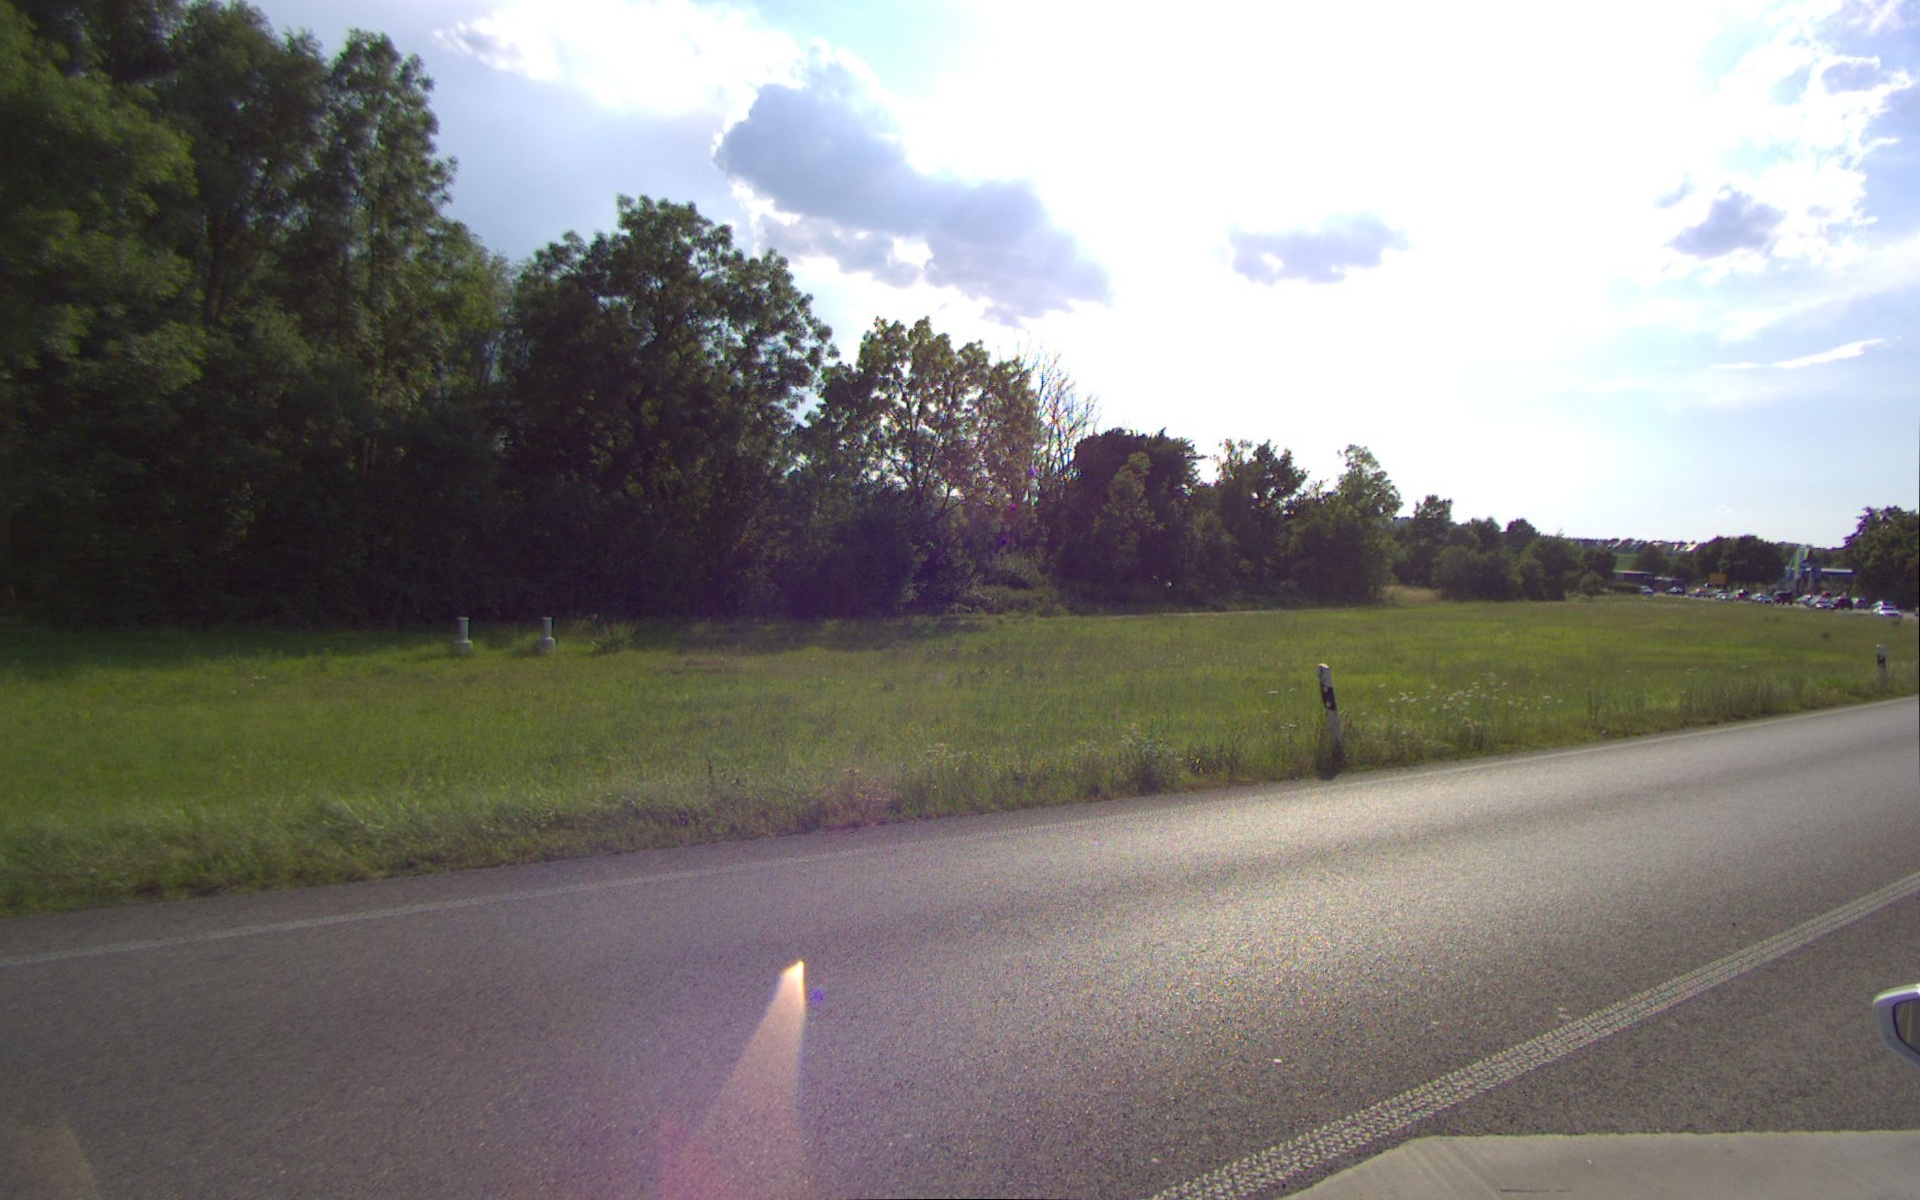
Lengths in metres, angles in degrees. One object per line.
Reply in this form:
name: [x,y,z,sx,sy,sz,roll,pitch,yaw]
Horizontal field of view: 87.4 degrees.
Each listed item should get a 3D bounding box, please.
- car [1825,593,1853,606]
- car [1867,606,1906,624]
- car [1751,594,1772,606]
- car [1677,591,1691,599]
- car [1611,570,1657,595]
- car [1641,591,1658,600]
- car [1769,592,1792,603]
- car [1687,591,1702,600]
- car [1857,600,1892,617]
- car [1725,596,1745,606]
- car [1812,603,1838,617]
car: [122.120,-0.085,139.624,2.054,1.621,3.993,2,1,29]
car: [96.938,1.568,105.111,1.812,1.678,3.996,2,0,26]
car: [119.273,0.051,149.508,1.814,1.678,3.992,2,0,31]
car: [141.400,-0.986,196.177,1.854,1.621,3.992,2,1,30]
car: [143.424,-3.787,213.845,3.481,5.127,13.248,2,1,13]
car: [134.036,-0.931,195.216,1.811,1.678,3.998,2,0,22]
car: [129.861,-0.419,158.974,2.054,1.621,3.993,2,1,29]
car: [138.807,-0.785,189.831,1.854,1.621,3.992,2,1,30]
car: [92.837,0.860,101.998,1.814,1.678,3.992,2,0,31]
car: [135.200,0.103,175.238,1.853,1.621,3.995,2,1,26]
car: [110.488,1.270,128.347,1.814,1.678,3.992,2,0,31]
